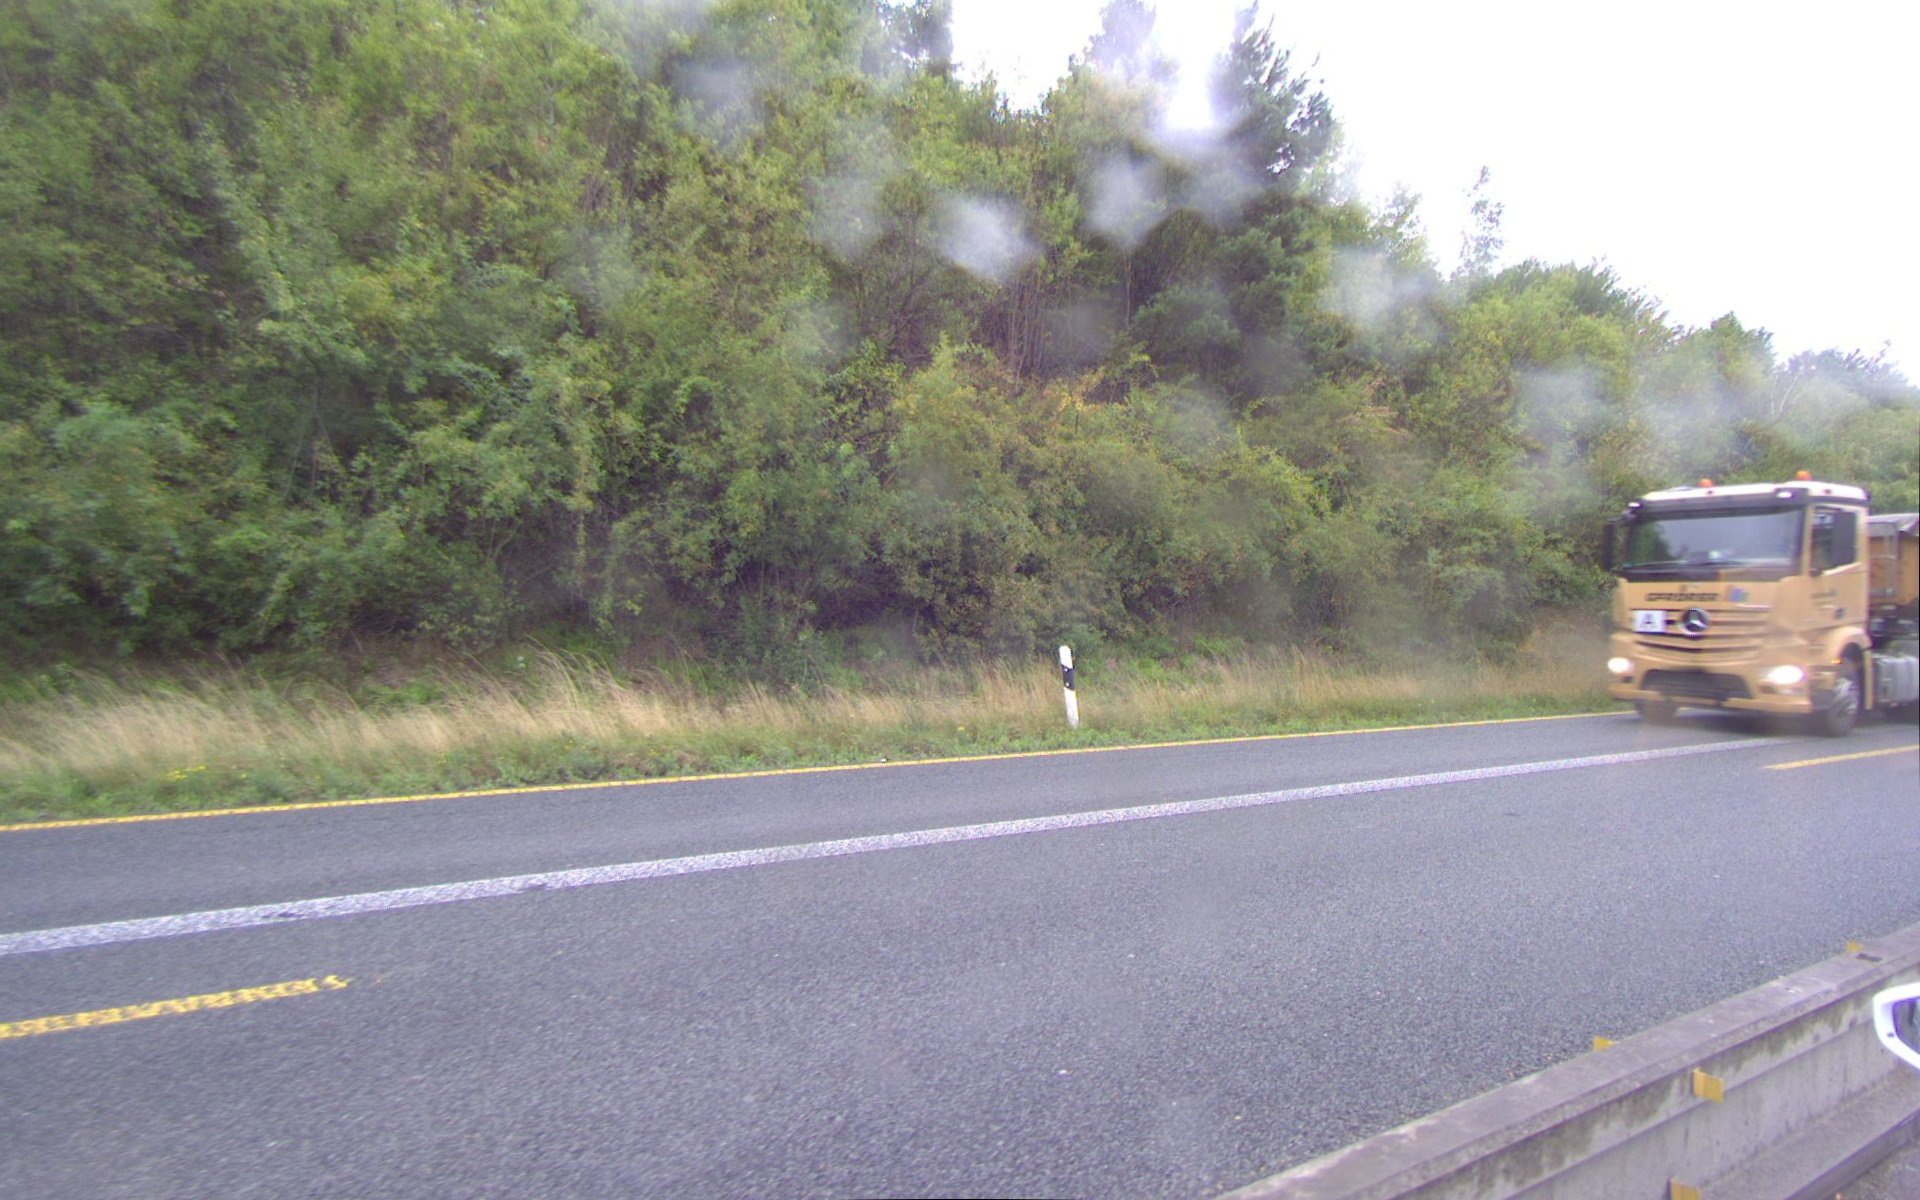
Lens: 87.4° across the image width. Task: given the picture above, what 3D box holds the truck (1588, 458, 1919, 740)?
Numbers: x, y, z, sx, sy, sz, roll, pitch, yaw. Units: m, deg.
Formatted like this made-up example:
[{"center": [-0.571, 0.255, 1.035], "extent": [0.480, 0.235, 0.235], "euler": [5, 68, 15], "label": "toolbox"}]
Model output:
[{"center": [14.704, 0.136, 16.320], "extent": [11.913, 3.397, 2.522], "euler": [2, 0, -31], "label": "truck"}]
